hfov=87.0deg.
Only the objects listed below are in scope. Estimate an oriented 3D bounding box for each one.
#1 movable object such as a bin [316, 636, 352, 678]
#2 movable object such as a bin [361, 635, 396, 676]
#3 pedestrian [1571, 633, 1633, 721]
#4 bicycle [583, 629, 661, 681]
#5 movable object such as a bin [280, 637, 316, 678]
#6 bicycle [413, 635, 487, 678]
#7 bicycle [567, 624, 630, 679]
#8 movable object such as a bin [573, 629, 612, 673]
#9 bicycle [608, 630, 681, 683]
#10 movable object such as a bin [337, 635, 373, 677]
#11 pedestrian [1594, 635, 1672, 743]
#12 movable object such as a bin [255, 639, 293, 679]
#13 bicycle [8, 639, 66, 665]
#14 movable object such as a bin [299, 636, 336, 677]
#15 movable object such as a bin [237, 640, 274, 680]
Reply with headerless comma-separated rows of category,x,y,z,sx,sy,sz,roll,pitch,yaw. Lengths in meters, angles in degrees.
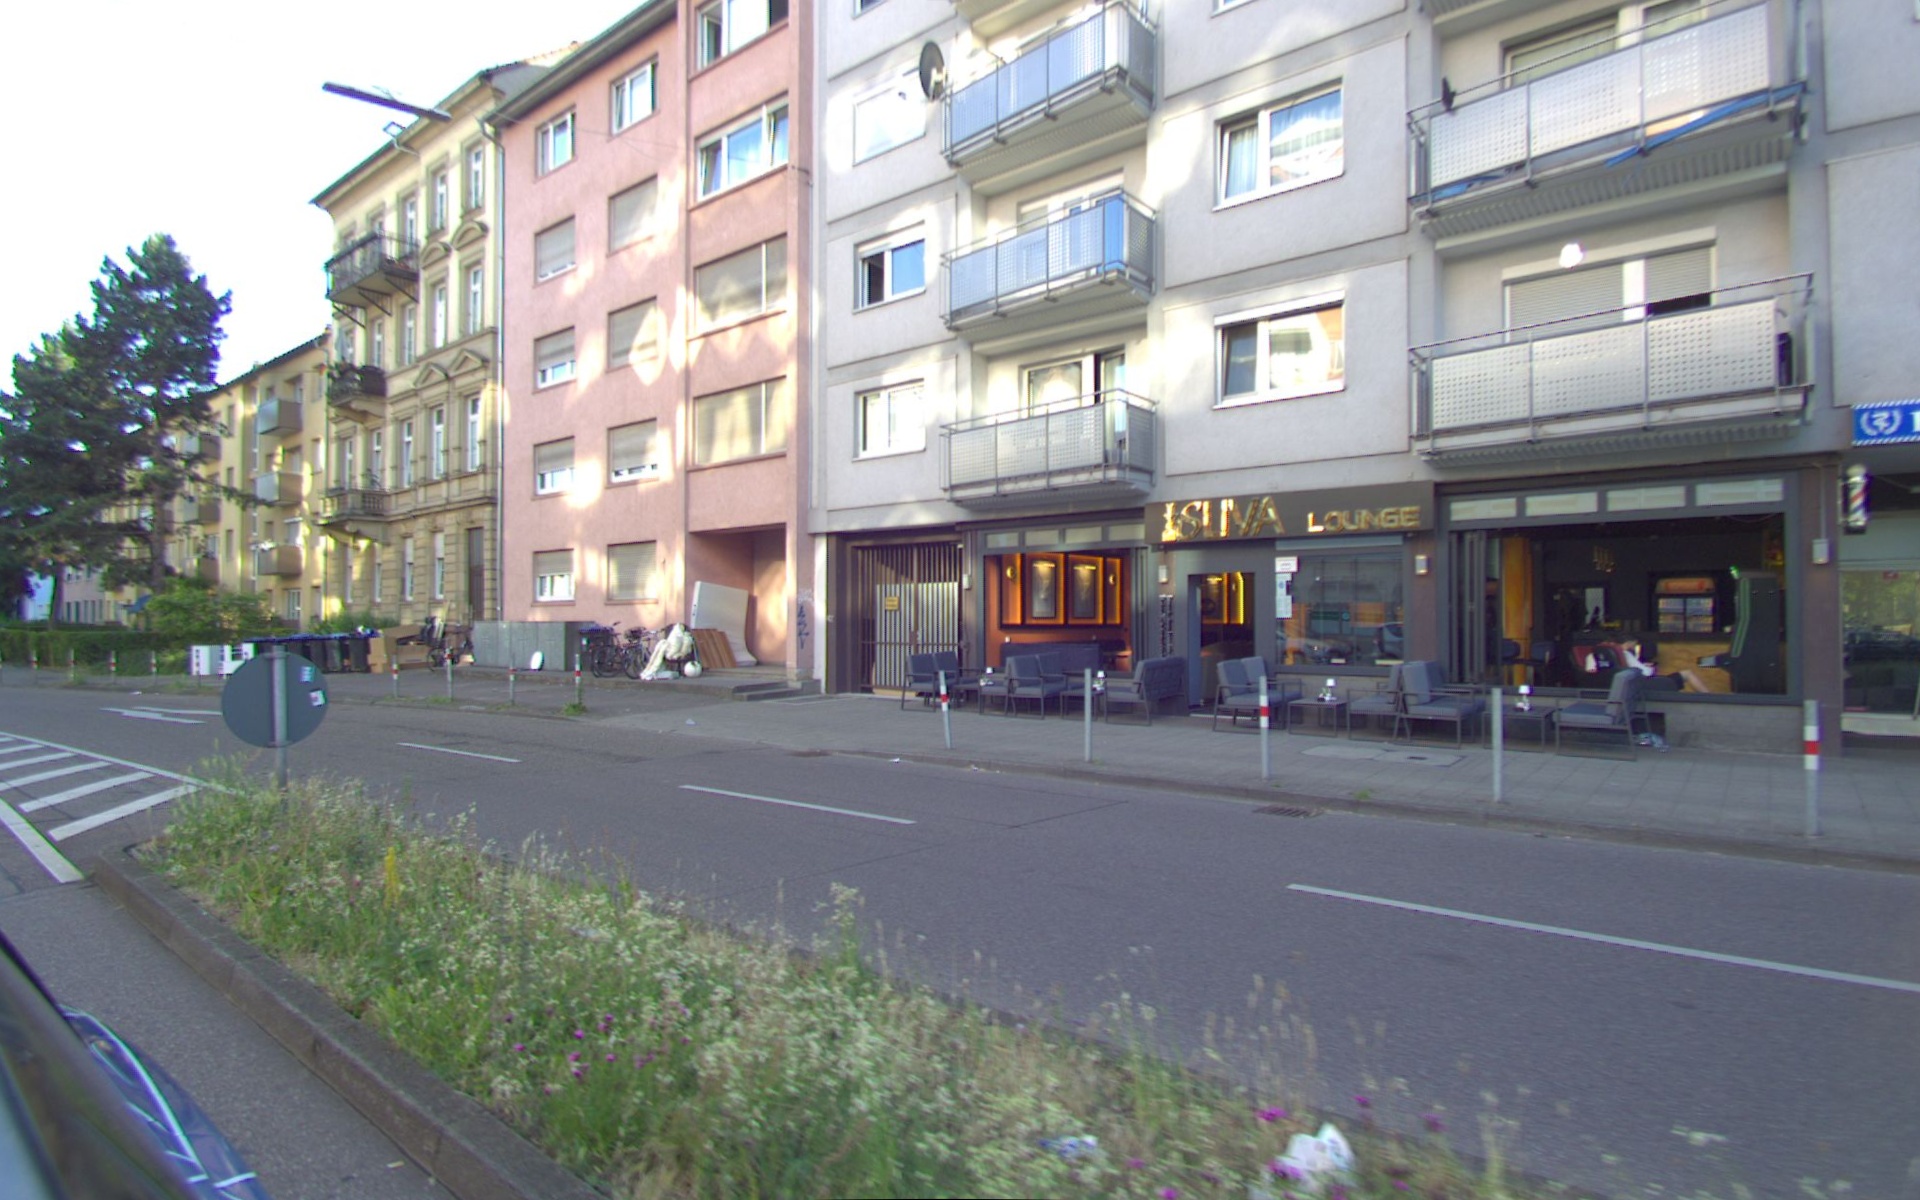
movable object such as a bin,-17.542,1.585,28.363,0.577,1.119,0.640,-1,1,9
movable object such as a bin,-16.284,1.548,28.340,0.577,1.119,0.640,-1,1,9
pedestrian,8.209,0.968,12.962,0.518,1.088,0.549,-1,-2,17
bicycle,-7.471,1.201,22.441,0.548,1.048,1.656,-1,0,32
movable object such as a bin,-18.792,1.621,28.725,0.577,1.119,0.640,-1,1,9
bicycle,-13.972,1.528,27.767,0.661,0.974,1.633,-2,4,38
bicycle,-8.149,1.143,22.885,0.491,1.169,1.668,-1,0,14
movable object such as a bin,-8.914,1.232,24.546,0.588,1.039,0.668,-2,-2,39
bicycle,-6.812,1.202,21.938,0.546,1.048,1.661,-1,0,25
movable object such as a bin,-16.942,1.570,28.346,0.577,1.119,0.640,-1,1,9
pedestrian,7.773,1.014,11.708,0.546,1.212,0.521,-1,-2,8
movable object such as a bin,-19.511,1.674,28.772,0.620,1.076,0.640,-1,1,9
bicycle,-38.411,2.156,42.118,0.589,0.989,1.740,-2,-1,40
movable object such as a bin,-18.159,1.600,28.611,0.577,1.119,0.640,-1,1,9
movable object such as a bin,-20.151,1.706,28.939,0.577,1.091,0.640,-1,1,9
